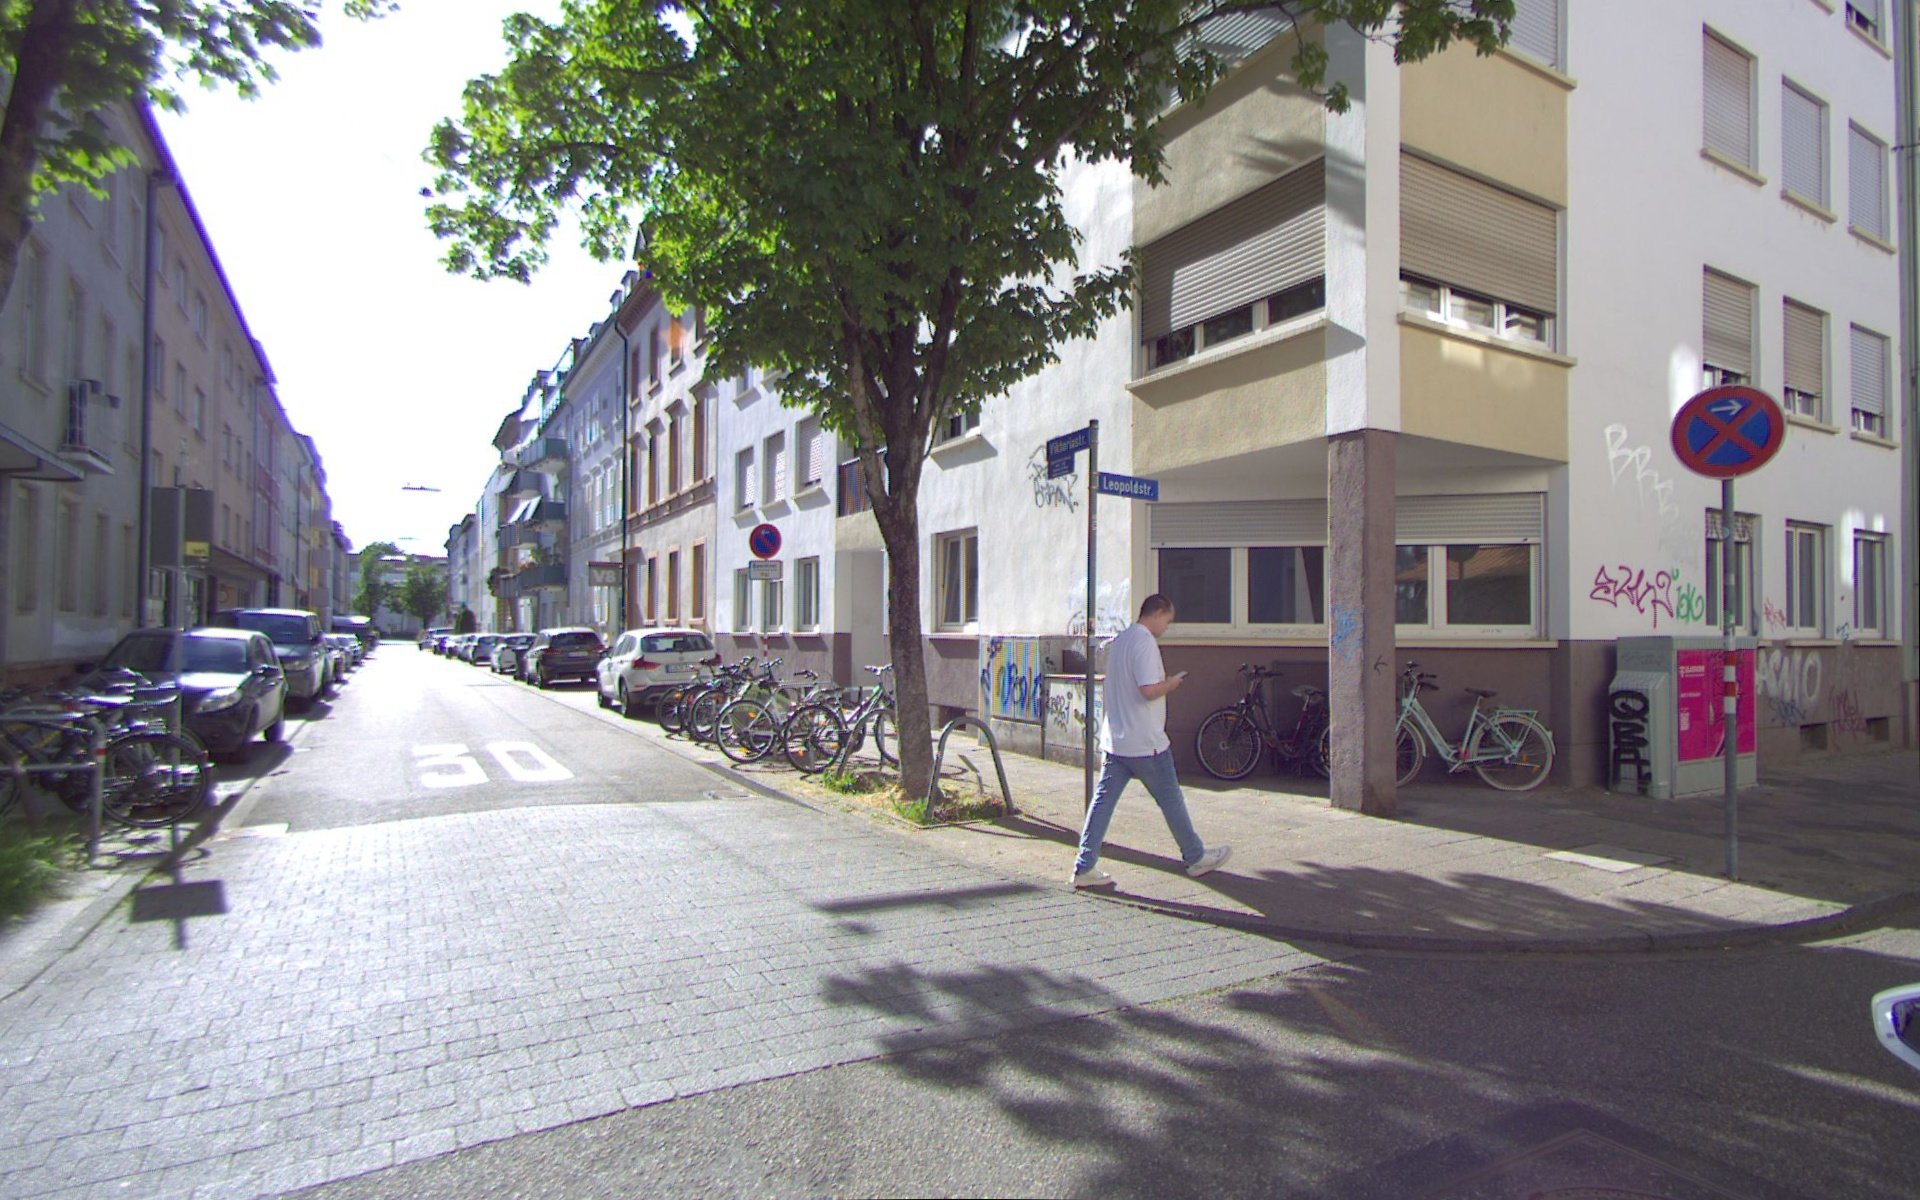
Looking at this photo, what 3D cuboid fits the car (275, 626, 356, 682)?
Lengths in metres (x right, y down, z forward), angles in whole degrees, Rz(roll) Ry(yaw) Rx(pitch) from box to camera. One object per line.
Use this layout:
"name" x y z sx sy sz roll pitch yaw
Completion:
"car" -20.501 1.687 32.070 1.806 1.654 3.913 0 -2 -28

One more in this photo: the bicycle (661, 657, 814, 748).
"bicycle" -3.106 1.398 14.112 1.974 1.081 0.676 -2 0 -31

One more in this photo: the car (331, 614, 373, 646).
"car" -38.549 1.924 63.785 1.975 1.919 4.671 3 -3 -28

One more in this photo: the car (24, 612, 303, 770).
"car" -9.647 1.043 12.580 1.878 1.607 4.211 4 -3 -27

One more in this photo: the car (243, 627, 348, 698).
"car" -16.548 1.497 25.189 1.835 1.609 4.376 1 -2 -29

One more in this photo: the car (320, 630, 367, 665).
"car" -30.202 2.301 49.311 1.649 1.607 3.848 2 -2 -28

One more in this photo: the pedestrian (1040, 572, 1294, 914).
"pedestrian" 1.265 0.787 6.180 1.231 1.857 0.906 0 -1 -31

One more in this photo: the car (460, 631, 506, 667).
"car" -22.961 2.333 48.496 1.880 1.672 3.953 0 -2 -24

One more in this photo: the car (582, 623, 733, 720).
"car" -5.888 1.274 19.210 1.971 1.635 4.142 0 -2 -29

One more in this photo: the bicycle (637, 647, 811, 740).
"bicycle" -3.532 1.365 15.138 2.394 1.162 0.830 -2 0 -31

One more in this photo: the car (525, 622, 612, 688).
"car" -11.295 1.515 28.811 1.842 1.715 4.211 -1 -1 -28

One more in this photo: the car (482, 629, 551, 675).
"car" -17.270 1.970 39.005 2.120 1.647 4.852 0 -2 -28

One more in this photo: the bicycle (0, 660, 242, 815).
"bicycle" -7.251 1.067 8.016 2.409 1.142 0.701 4 -3 -38

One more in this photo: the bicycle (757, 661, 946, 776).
"bicycle" -1.151 1.248 10.927 2.039 1.116 0.479 1 -1 -32

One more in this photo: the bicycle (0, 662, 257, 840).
"bicycle" -6.399 1.030 7.057 2.280 1.158 0.704 3 -2 -30

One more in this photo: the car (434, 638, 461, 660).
"car" -39.032 3.679 76.447 1.806 1.607 4.028 0 -2 -28

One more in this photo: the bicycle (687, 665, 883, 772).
"bicycle" -2.026 1.340 11.757 2.155 1.043 0.637 -1 0 -29

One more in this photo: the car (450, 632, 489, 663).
"car" -27.190 2.603 55.650 1.806 1.607 4.050 0 -2 -28

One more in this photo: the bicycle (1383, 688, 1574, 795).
"bicycle" 4.904 1.328 9.565 1.538 0.894 0.431 1 0 10

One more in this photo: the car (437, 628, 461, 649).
"car" -43.727 3.270 85.880 1.806 1.712 4.173 0 -2 -28

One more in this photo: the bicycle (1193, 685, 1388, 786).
"bicycle" 3.292 1.344 10.110 1.825 0.925 0.383 0 -2 11

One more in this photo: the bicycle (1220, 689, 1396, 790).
"bicycle" 3.323 1.327 9.682 1.553 0.909 0.404 -1 -2 11

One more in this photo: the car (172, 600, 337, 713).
"car" -13.928 1.100 20.127 2.060 1.971 4.565 3 -3 -28

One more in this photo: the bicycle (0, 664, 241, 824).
"bicycle" -6.907 1.058 7.529 2.376 1.132 0.519 3 -2 -31

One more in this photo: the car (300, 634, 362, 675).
"car" -25.763 2.202 41.273 1.806 1.565 4.021 2 -2 -28

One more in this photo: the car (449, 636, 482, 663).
"car" -31.413 3.125 63.742 1.806 1.607 4.211 0 -2 -28

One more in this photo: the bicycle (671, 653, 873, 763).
"bicycle" -2.277 1.283 12.382 2.411 1.200 0.500 0 -2 -31
